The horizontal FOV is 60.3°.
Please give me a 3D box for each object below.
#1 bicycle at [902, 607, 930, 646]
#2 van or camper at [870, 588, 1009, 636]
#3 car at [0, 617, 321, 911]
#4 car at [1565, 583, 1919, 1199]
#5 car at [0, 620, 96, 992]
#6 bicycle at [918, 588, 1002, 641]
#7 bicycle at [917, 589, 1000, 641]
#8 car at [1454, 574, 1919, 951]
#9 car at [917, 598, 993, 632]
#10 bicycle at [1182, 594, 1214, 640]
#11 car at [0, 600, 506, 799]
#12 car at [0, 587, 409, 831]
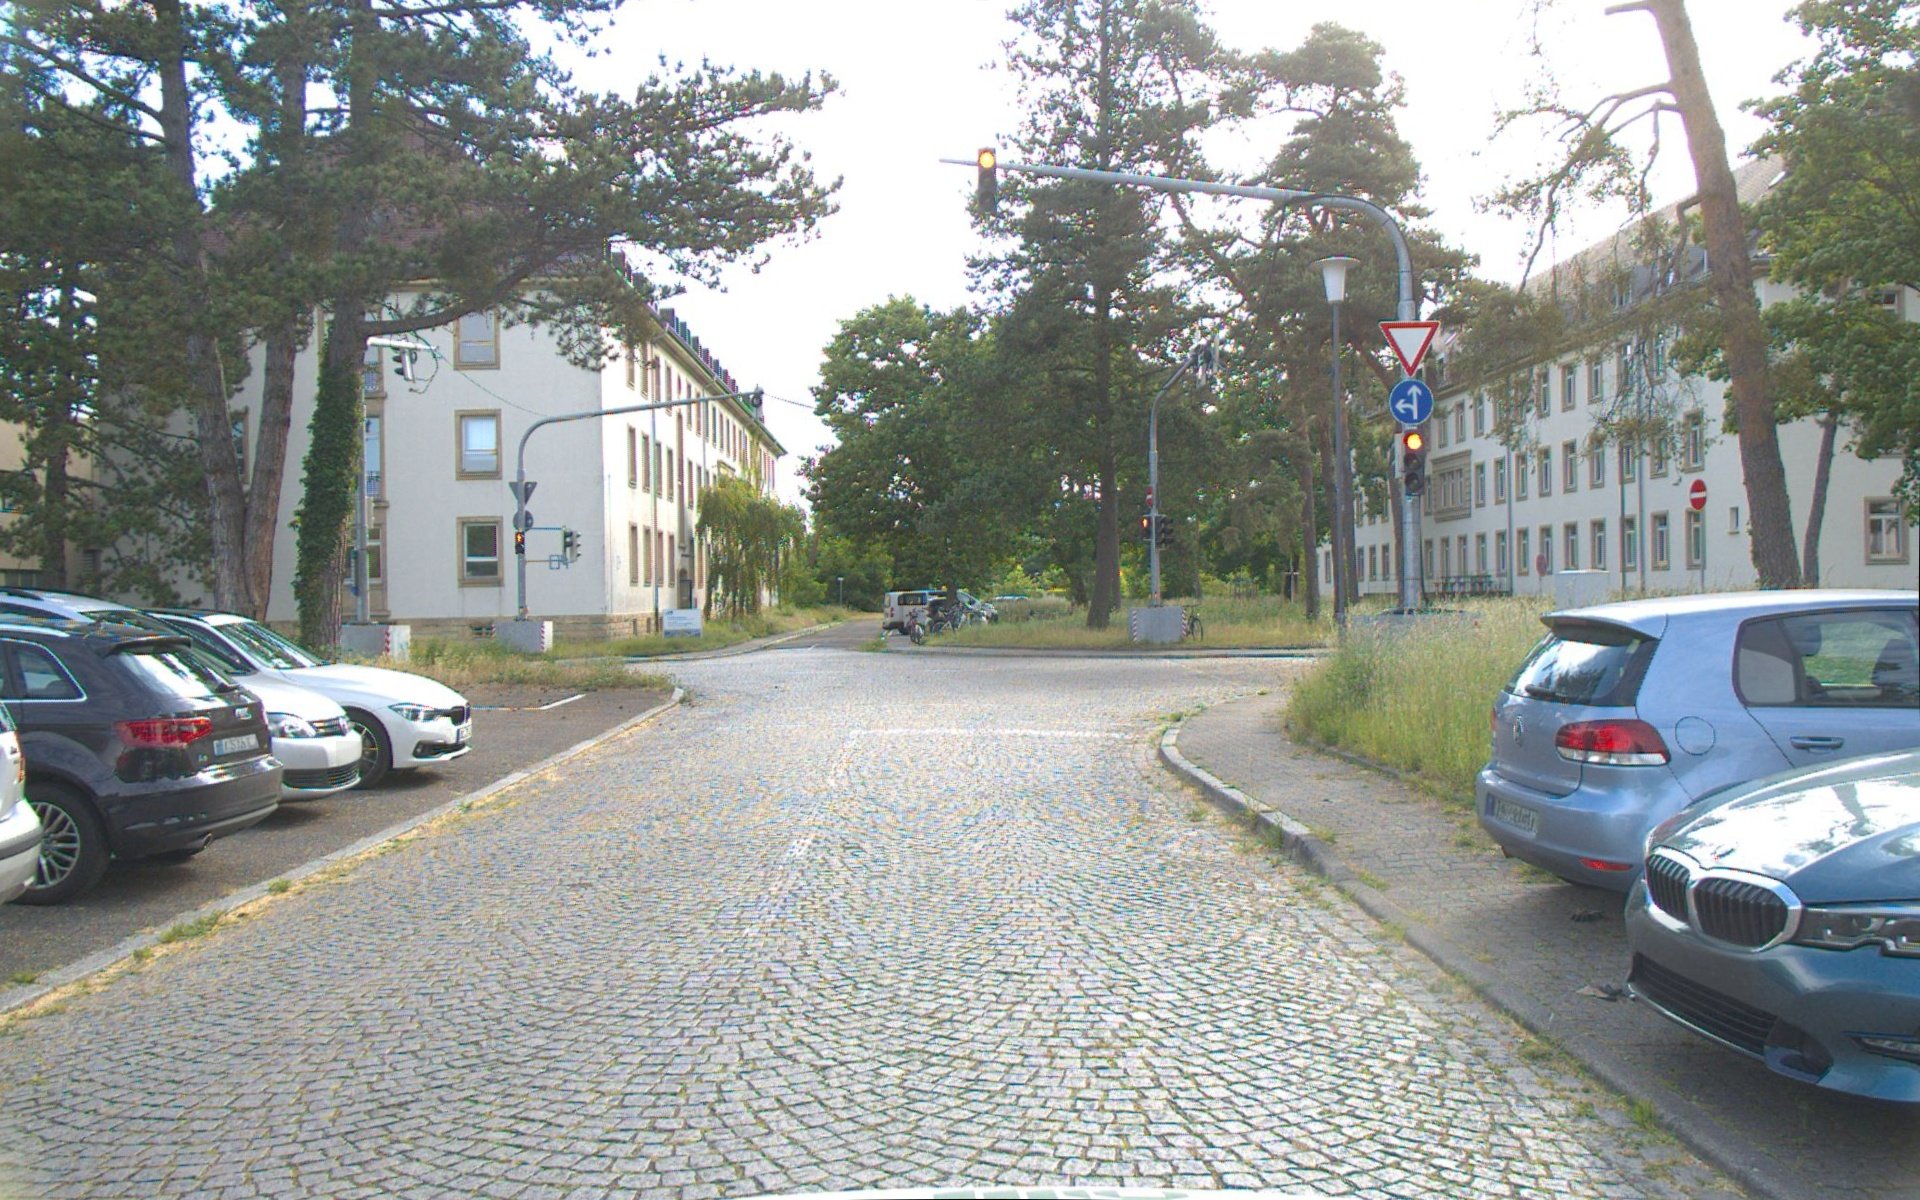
[{"bbox_3d":[-1.376,0.813,52.345,0.711,1.127,2.462,-6,0,0],"label":"bicycle"},{"bbox_3d":[-0.935,0.517,74.610,5.932,1.983,1.992,-1,0,-15],"label":"van or camper"},{"bbox_3d":[-5.782,0.822,9.203,3.758,1.433,1.695,1,0,-2],"label":"car"},{"bbox_3d":[4.414,0.675,5.106,4.424,1.509,1.806,-1,0,-4],"label":"car"},{"bbox_3d":[-5.649,0.804,6.577,3.506,1.501,1.646,1,0,-4],"label":"car"},{"bbox_3d":[-0.011,0.485,56.662,2.723,1.723,1.118,-1,0,-7],"label":"bicycle"},{"bbox_3d":[-0.062,0.513,57.855,2.724,1.723,1.118,-1,0,-9],"label":"bicycle"},{"bbox_3d":[4.457,0.632,7.716,3.765,1.496,1.641,-2,0,-2],"label":"car"},{"bbox_3d":[-0.238,0.624,71.050,3.078,1.378,1.617,-1,0,-7],"label":"car"},{"bbox_3d":[6.470,0.458,45.030,0.708,1.189,2.738,0,0,5],"label":"bicycle"},{"bbox_3d":[-6.416,0.823,14.441,4.390,1.467,1.828,2,0,-5],"label":"car"},{"bbox_3d":[-6.205,0.738,12.111,3.756,1.635,1.734,1,0,-4],"label":"car"}]
